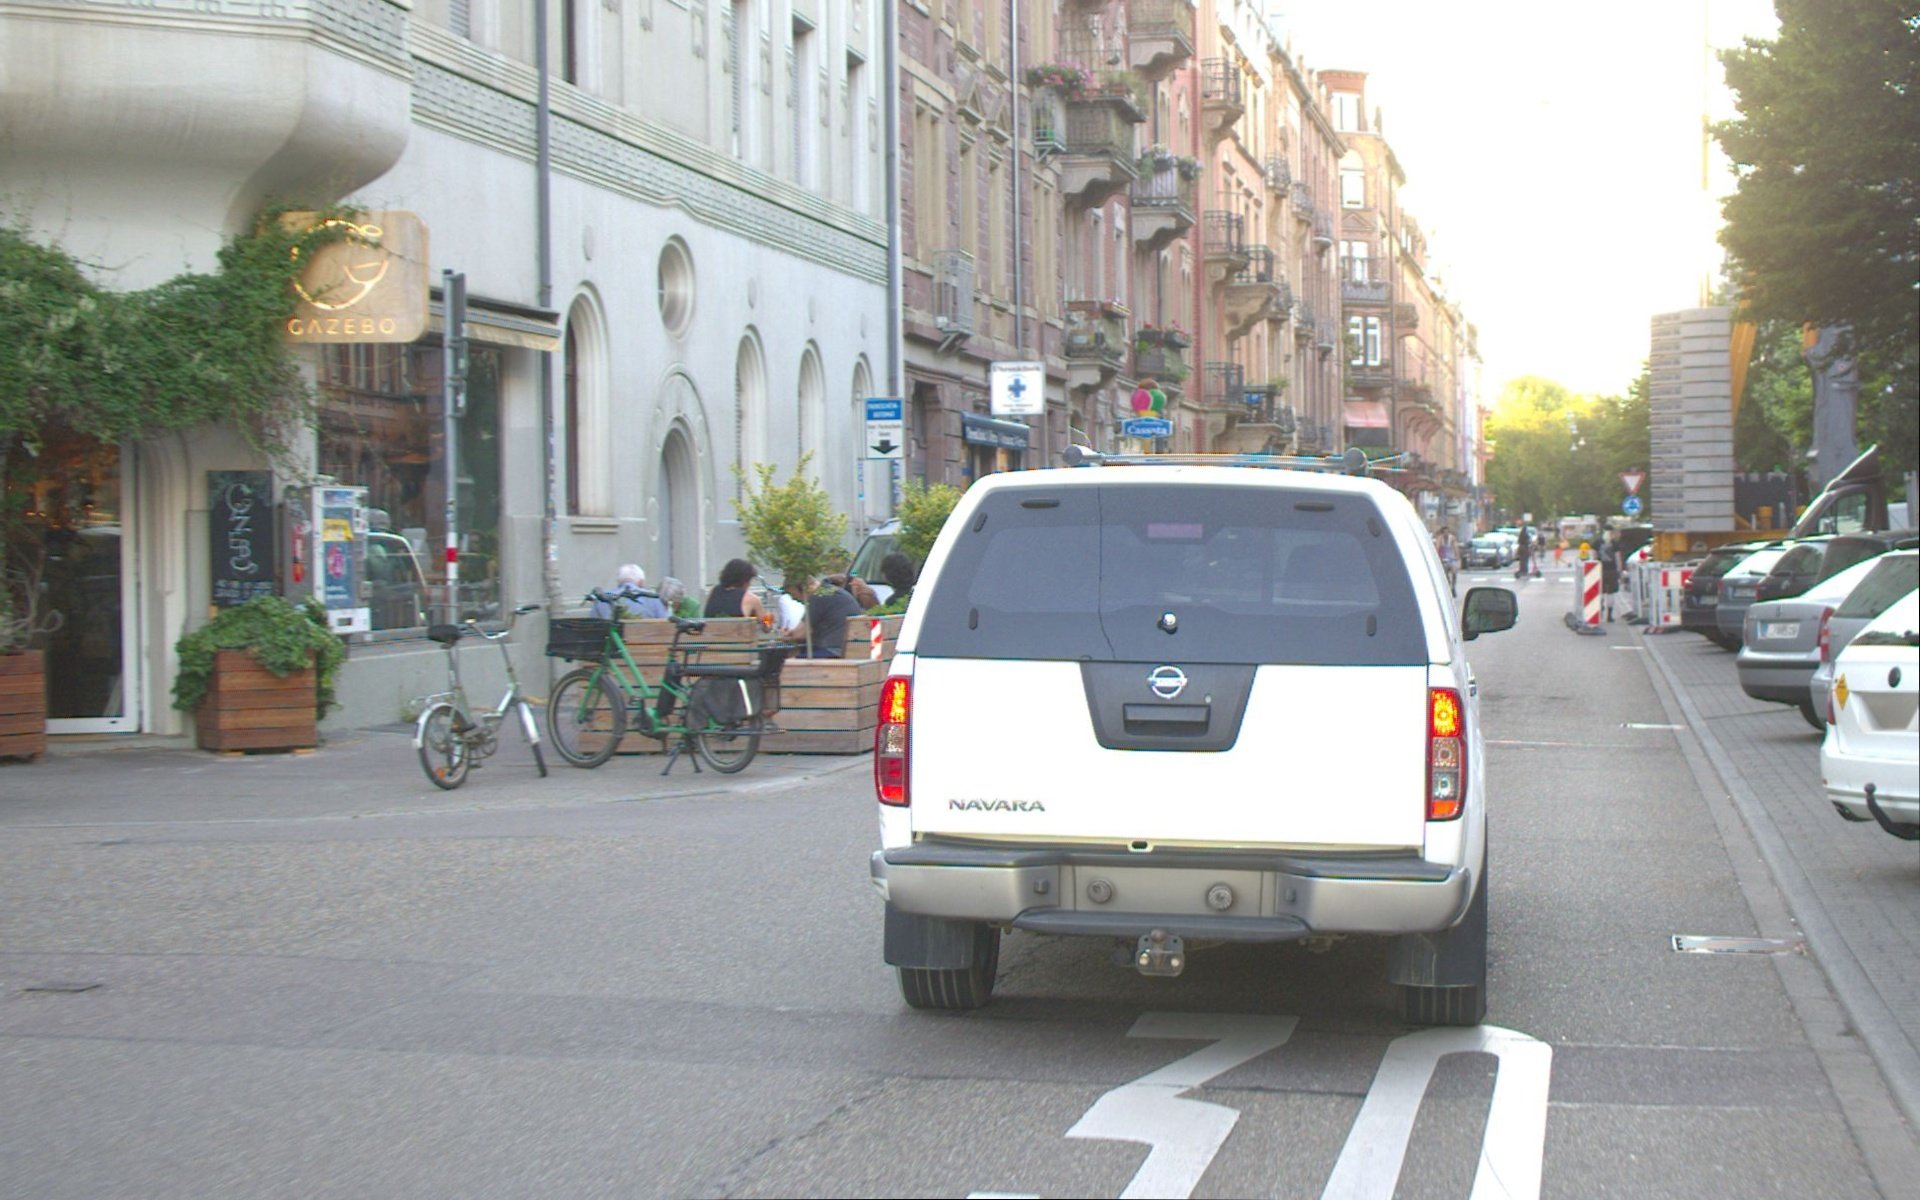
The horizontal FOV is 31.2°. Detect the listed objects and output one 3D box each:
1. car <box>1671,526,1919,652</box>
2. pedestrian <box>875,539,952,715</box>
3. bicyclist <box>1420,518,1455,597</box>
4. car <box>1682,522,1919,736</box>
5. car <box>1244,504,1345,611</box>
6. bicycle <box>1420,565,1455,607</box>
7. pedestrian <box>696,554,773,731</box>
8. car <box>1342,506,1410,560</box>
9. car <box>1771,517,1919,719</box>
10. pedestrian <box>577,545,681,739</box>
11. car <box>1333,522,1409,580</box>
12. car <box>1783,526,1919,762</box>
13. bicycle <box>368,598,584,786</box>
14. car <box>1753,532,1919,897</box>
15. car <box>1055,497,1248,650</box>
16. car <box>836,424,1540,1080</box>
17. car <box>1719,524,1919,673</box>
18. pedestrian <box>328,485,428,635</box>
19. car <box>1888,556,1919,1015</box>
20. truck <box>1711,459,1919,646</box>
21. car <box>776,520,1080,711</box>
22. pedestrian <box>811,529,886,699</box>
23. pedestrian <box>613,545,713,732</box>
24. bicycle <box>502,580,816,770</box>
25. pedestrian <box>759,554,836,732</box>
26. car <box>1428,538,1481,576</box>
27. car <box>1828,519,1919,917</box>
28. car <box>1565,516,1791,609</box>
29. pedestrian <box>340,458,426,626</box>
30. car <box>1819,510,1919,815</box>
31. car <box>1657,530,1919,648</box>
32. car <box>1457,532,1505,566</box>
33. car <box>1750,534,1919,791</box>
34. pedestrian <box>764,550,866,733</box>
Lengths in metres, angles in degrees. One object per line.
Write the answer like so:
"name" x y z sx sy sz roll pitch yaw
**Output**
"car" 11.123 -0.167 43.516 3.824 1.432 1.763 -2 2 -24
"pedestrian" -0.354 0.200 26.599 0.484 1.345 0.669 0 1 9
"bicyclist" 11.189 -0.993 80.547 0.800 1.843 0.943 0 1 8
"car" 7.894 0.156 26.300 4.371 1.529 1.808 -1 1 -22
"car" 6.346 -0.815 64.929 1.560 1.914 3.855 2 1 10
"bicycle" 11.196 -0.339 80.618 0.800 0.944 2.004 0 1 8
"pedestrian" -1.729 0.319 26.415 0.468 1.345 0.611 0 1 9
"car" 12.020 -1.942 99.170 1.711 1.525 3.998 0 1 10
"car" 9.146 0.082 29.212 3.986 1.631 1.759 -2 1 -9
"pedestrian" -2.289 0.280 23.830 0.537 1.320 0.704 0 1 11
"car" 11.190 -1.344 93.461 1.792 1.525 3.998 0 1 11
"car" 7.648 0.242 23.565 3.593 1.529 1.563 -1 1 -17
"bicycle" -2.878 0.529 20.591 0.424 1.009 1.716 1 2 24
"car" 5.789 0.443 15.654 3.986 1.532 1.636 -1 2 -20
"car" 2.612 -0.387 45.745 1.905 1.919 4.945 0 1 11
"car" 0.891 0.346 11.919 1.934 1.788 4.621 1 2 7
"car" 10.253 -0.059 37.494 3.395 1.469 1.775 -3 2 -20
"pedestrian" -4.540 -0.315 26.859 0.557 1.150 0.748 0 1 9
"car" 5.215 0.542 10.999 3.986 1.468 1.876 -1 0 -22
"truck" 15.549 -0.752 56.301 6.324 2.966 2.263 0 -2 12
"car" -0.205 0.095 31.127 1.994 1.586 4.312 -1 1 10
"pedestrian" -0.894 0.108 27.559 0.517 1.345 0.540 0 1 8
"pedestrian" -2.124 0.268 24.642 0.537 1.320 0.704 0 1 11
"bicycle" -1.888 0.446 21.368 2.114 1.091 0.500 1 3 35
"pedestrian" -1.240 0.319 26.269 0.468 1.345 0.611 0 1 9
"car" 20.956 -1.845 145.636 1.848 1.546 4.353 0 1 13
"car" 5.632 0.406 13.532 3.986 1.518 1.710 -1 0 -20
"car" 14.055 -0.743 67.231 4.198 1.774 1.818 1 1 16
"pedestrian" -4.690 -0.472 27.954 0.539 1.345 0.518 0 1 11
"car" 6.625 0.283 18.416 3.593 1.575 1.716 -1 1 -22
"car" 11.376 -0.172 45.998 3.880 1.525 1.638 0 1 -29
"car" 24.399 -2.383 161.034 1.848 1.546 4.353 0 1 14
"car" 6.910 0.318 21.166 3.593 1.477 1.723 -1 1 -17
"pedestrian" -1.060 0.294 25.271 0.609 1.320 0.770 0 1 9
